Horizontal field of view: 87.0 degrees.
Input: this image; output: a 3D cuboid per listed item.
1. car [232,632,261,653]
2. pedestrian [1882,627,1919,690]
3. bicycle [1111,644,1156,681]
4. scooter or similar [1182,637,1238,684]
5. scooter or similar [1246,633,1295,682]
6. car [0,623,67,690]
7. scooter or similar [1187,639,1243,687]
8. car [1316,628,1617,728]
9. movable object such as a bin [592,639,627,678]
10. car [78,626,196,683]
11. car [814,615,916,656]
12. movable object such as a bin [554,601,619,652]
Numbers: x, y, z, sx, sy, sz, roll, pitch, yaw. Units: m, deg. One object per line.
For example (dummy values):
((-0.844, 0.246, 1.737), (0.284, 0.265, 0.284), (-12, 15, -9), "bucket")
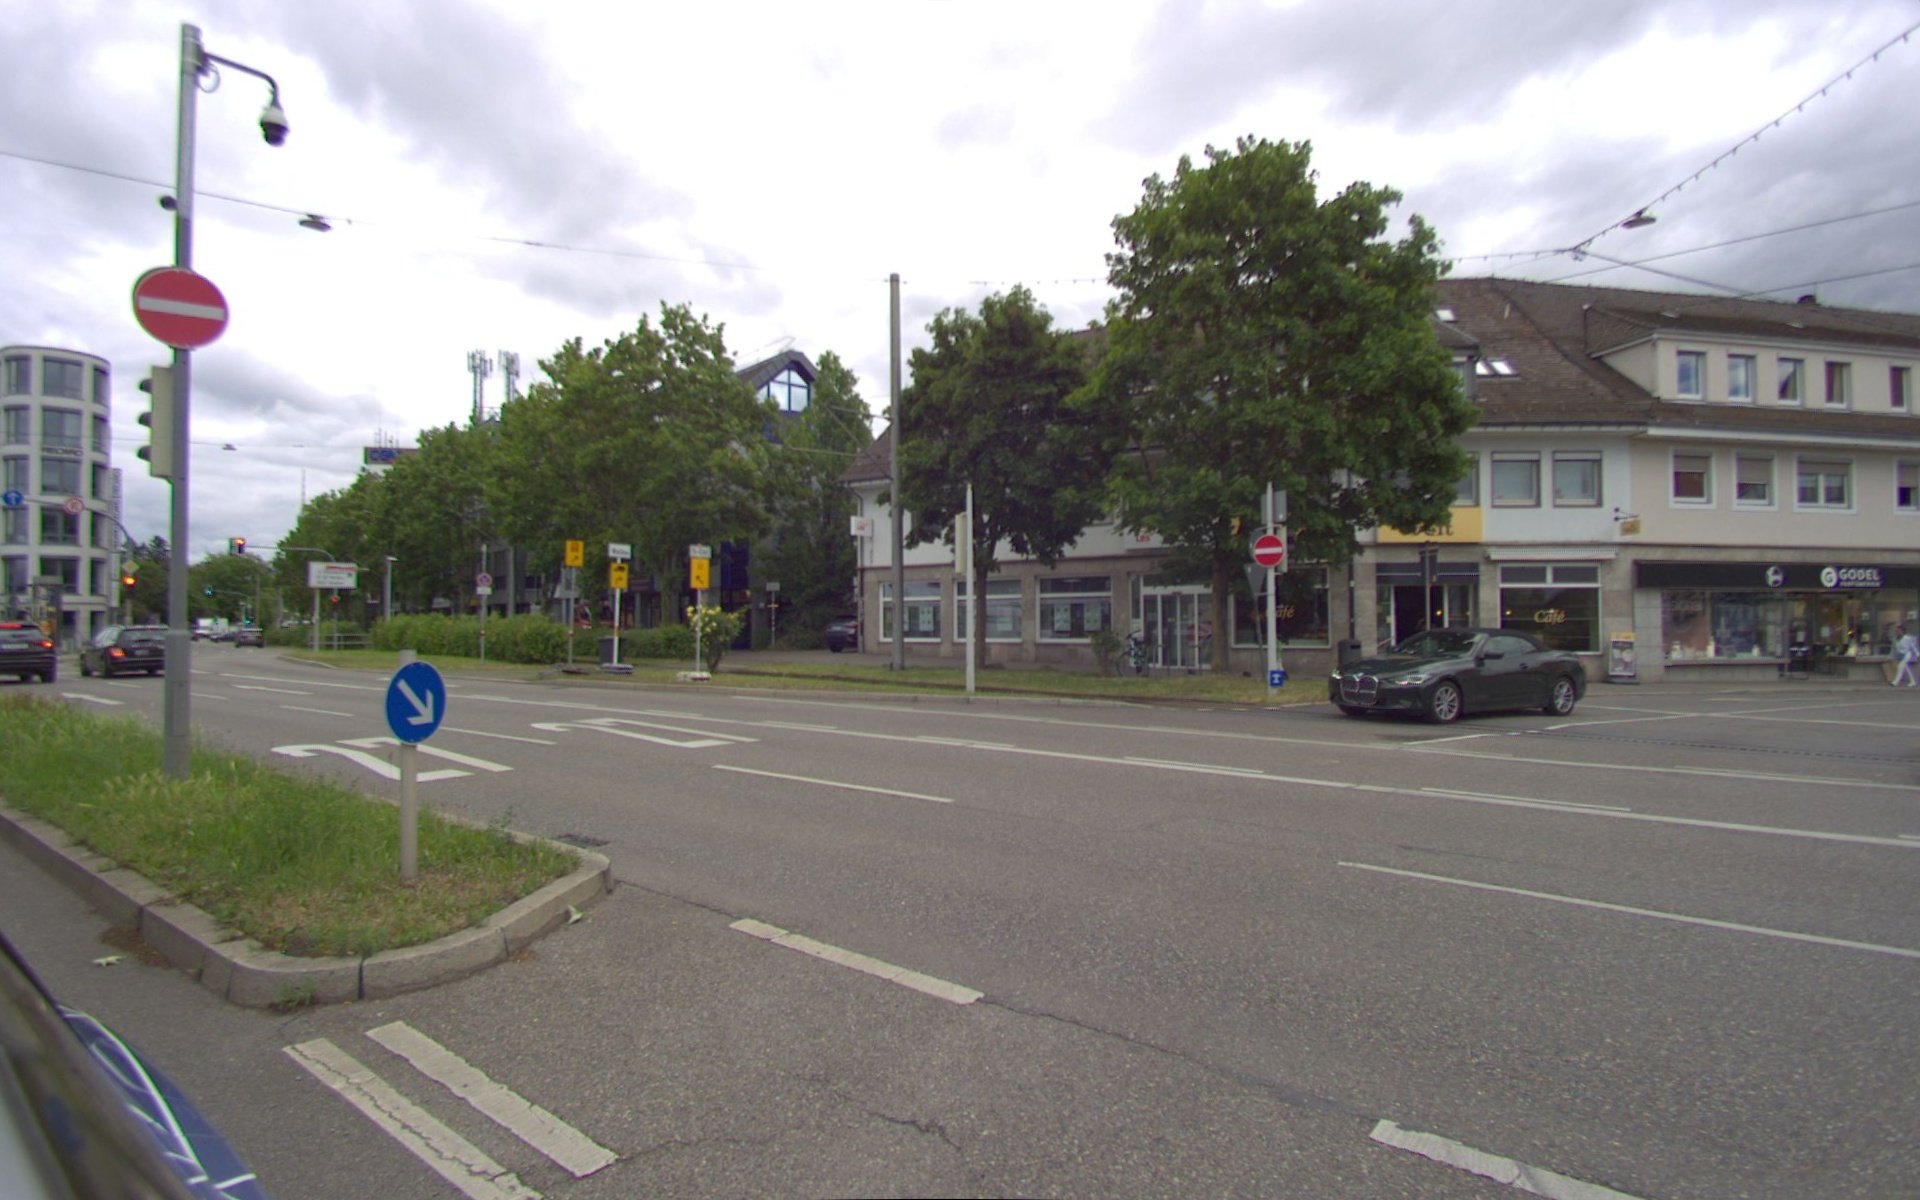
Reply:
((-58.873, 3.516, 83.437), (1.760, 1.549, 4.405), (-1, -2, -37), "car")
((26.060, 1.577, 27.670), (0.844, 1.683, 0.878), (0, -2, -11), "pedestrian")
((3.998, 1.422, 23.313), (0.424, 0.811, 1.245), (-2, -2, 42), "bicycle")
((6.024, 1.437, 24.397), (0.594, 1.094, 1.178), (1, -2, -40), "scooter or similar")
((7.143, 1.312, 23.331), (0.418, 1.094, 0.992), (1, -2, -45), "scooter or similar")
((-24.437, 1.448, 25.704), (4.389, 1.576, 1.870), (-3, -2, 38), "car")
((5.758, 1.412, 22.865), (0.483, 1.053, 1.179), (1, -2, -37), "scooter or similar")
((8.023, 1.139, 15.967), (4.601, 1.391, 1.832), (1, -2, -27), "car")
((-9.537, 1.578, 27.563), (0.838, 1.020, 0.558), (-2, -2, 41), "movable object such as a bin")
((-23.238, 1.544, 28.523), (4.392, 1.436, 1.765), (-3, -2, 40), "car")
((-3.679, 1.365, 39.832), (1.855, 1.436, 3.954), (-3, -2, 35), "car")
((-19.473, 1.391, 52.639), (1.881, 2.551, 4.133), (1, -2, -40), "movable object such as a bin")
